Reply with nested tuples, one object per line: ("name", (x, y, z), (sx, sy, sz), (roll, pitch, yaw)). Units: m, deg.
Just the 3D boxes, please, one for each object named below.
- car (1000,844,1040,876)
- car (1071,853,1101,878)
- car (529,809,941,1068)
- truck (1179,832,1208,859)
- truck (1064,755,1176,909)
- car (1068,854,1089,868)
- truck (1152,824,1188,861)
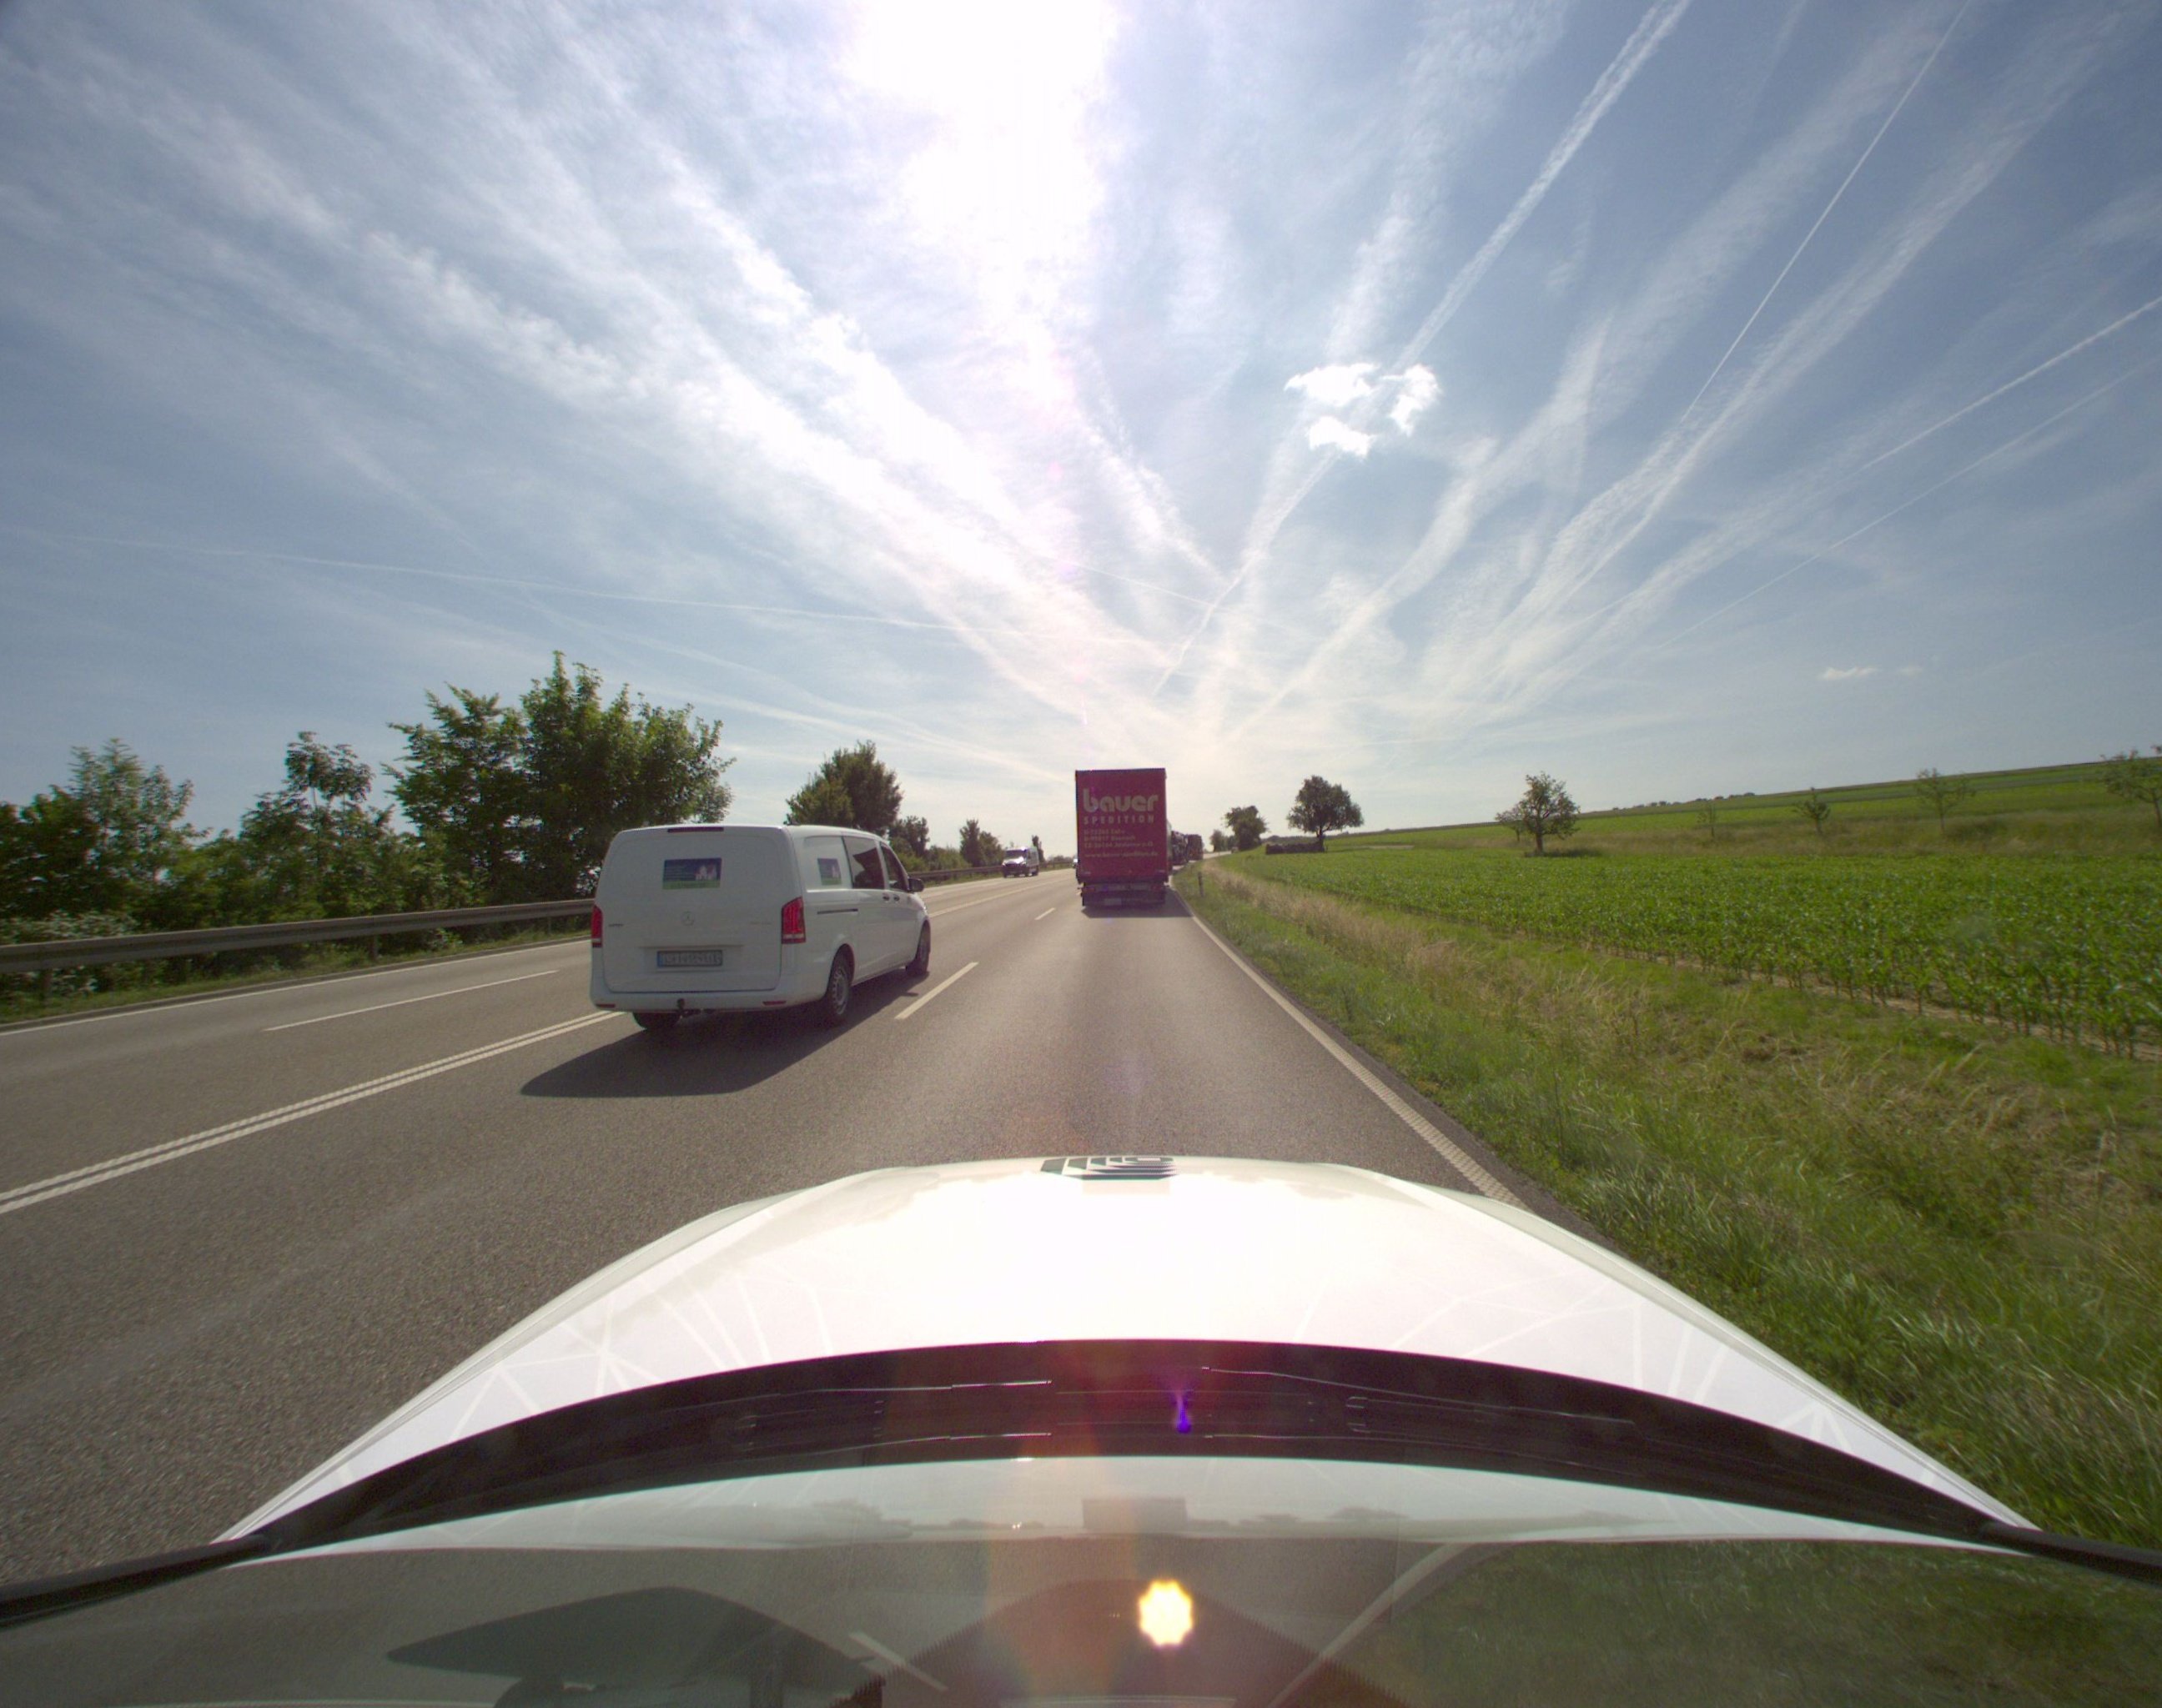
("car", (-4.773, 0.437, 64.752), (2.077, 2.394, 5.855), (-2, 0, 7))
("car", (0.379, 0.756, 53.432), (1.516, 1.581, 4.007), (-1, 0, 6))
("car", (-3.064, 0.637, 8.818), (1.898, 1.884, 5.435), (-2, 0, 2))
("truck", (18.033, -1.370, 129.679), (3.026, 3.910, 18.459), (-2, 0, 12))
("truck", (1.620, -0.637, 30.763), (2.994, 4.180, 16.731), (-1, 0, 4))
("car", (-0.282, 0.798, 93.213), (1.803, 1.568, 4.694), (-1, 0, 8))
("truck", (10.730, -1.280, 96.543), (3.028, 3.910, 15.659), (-2, 0, 10))
